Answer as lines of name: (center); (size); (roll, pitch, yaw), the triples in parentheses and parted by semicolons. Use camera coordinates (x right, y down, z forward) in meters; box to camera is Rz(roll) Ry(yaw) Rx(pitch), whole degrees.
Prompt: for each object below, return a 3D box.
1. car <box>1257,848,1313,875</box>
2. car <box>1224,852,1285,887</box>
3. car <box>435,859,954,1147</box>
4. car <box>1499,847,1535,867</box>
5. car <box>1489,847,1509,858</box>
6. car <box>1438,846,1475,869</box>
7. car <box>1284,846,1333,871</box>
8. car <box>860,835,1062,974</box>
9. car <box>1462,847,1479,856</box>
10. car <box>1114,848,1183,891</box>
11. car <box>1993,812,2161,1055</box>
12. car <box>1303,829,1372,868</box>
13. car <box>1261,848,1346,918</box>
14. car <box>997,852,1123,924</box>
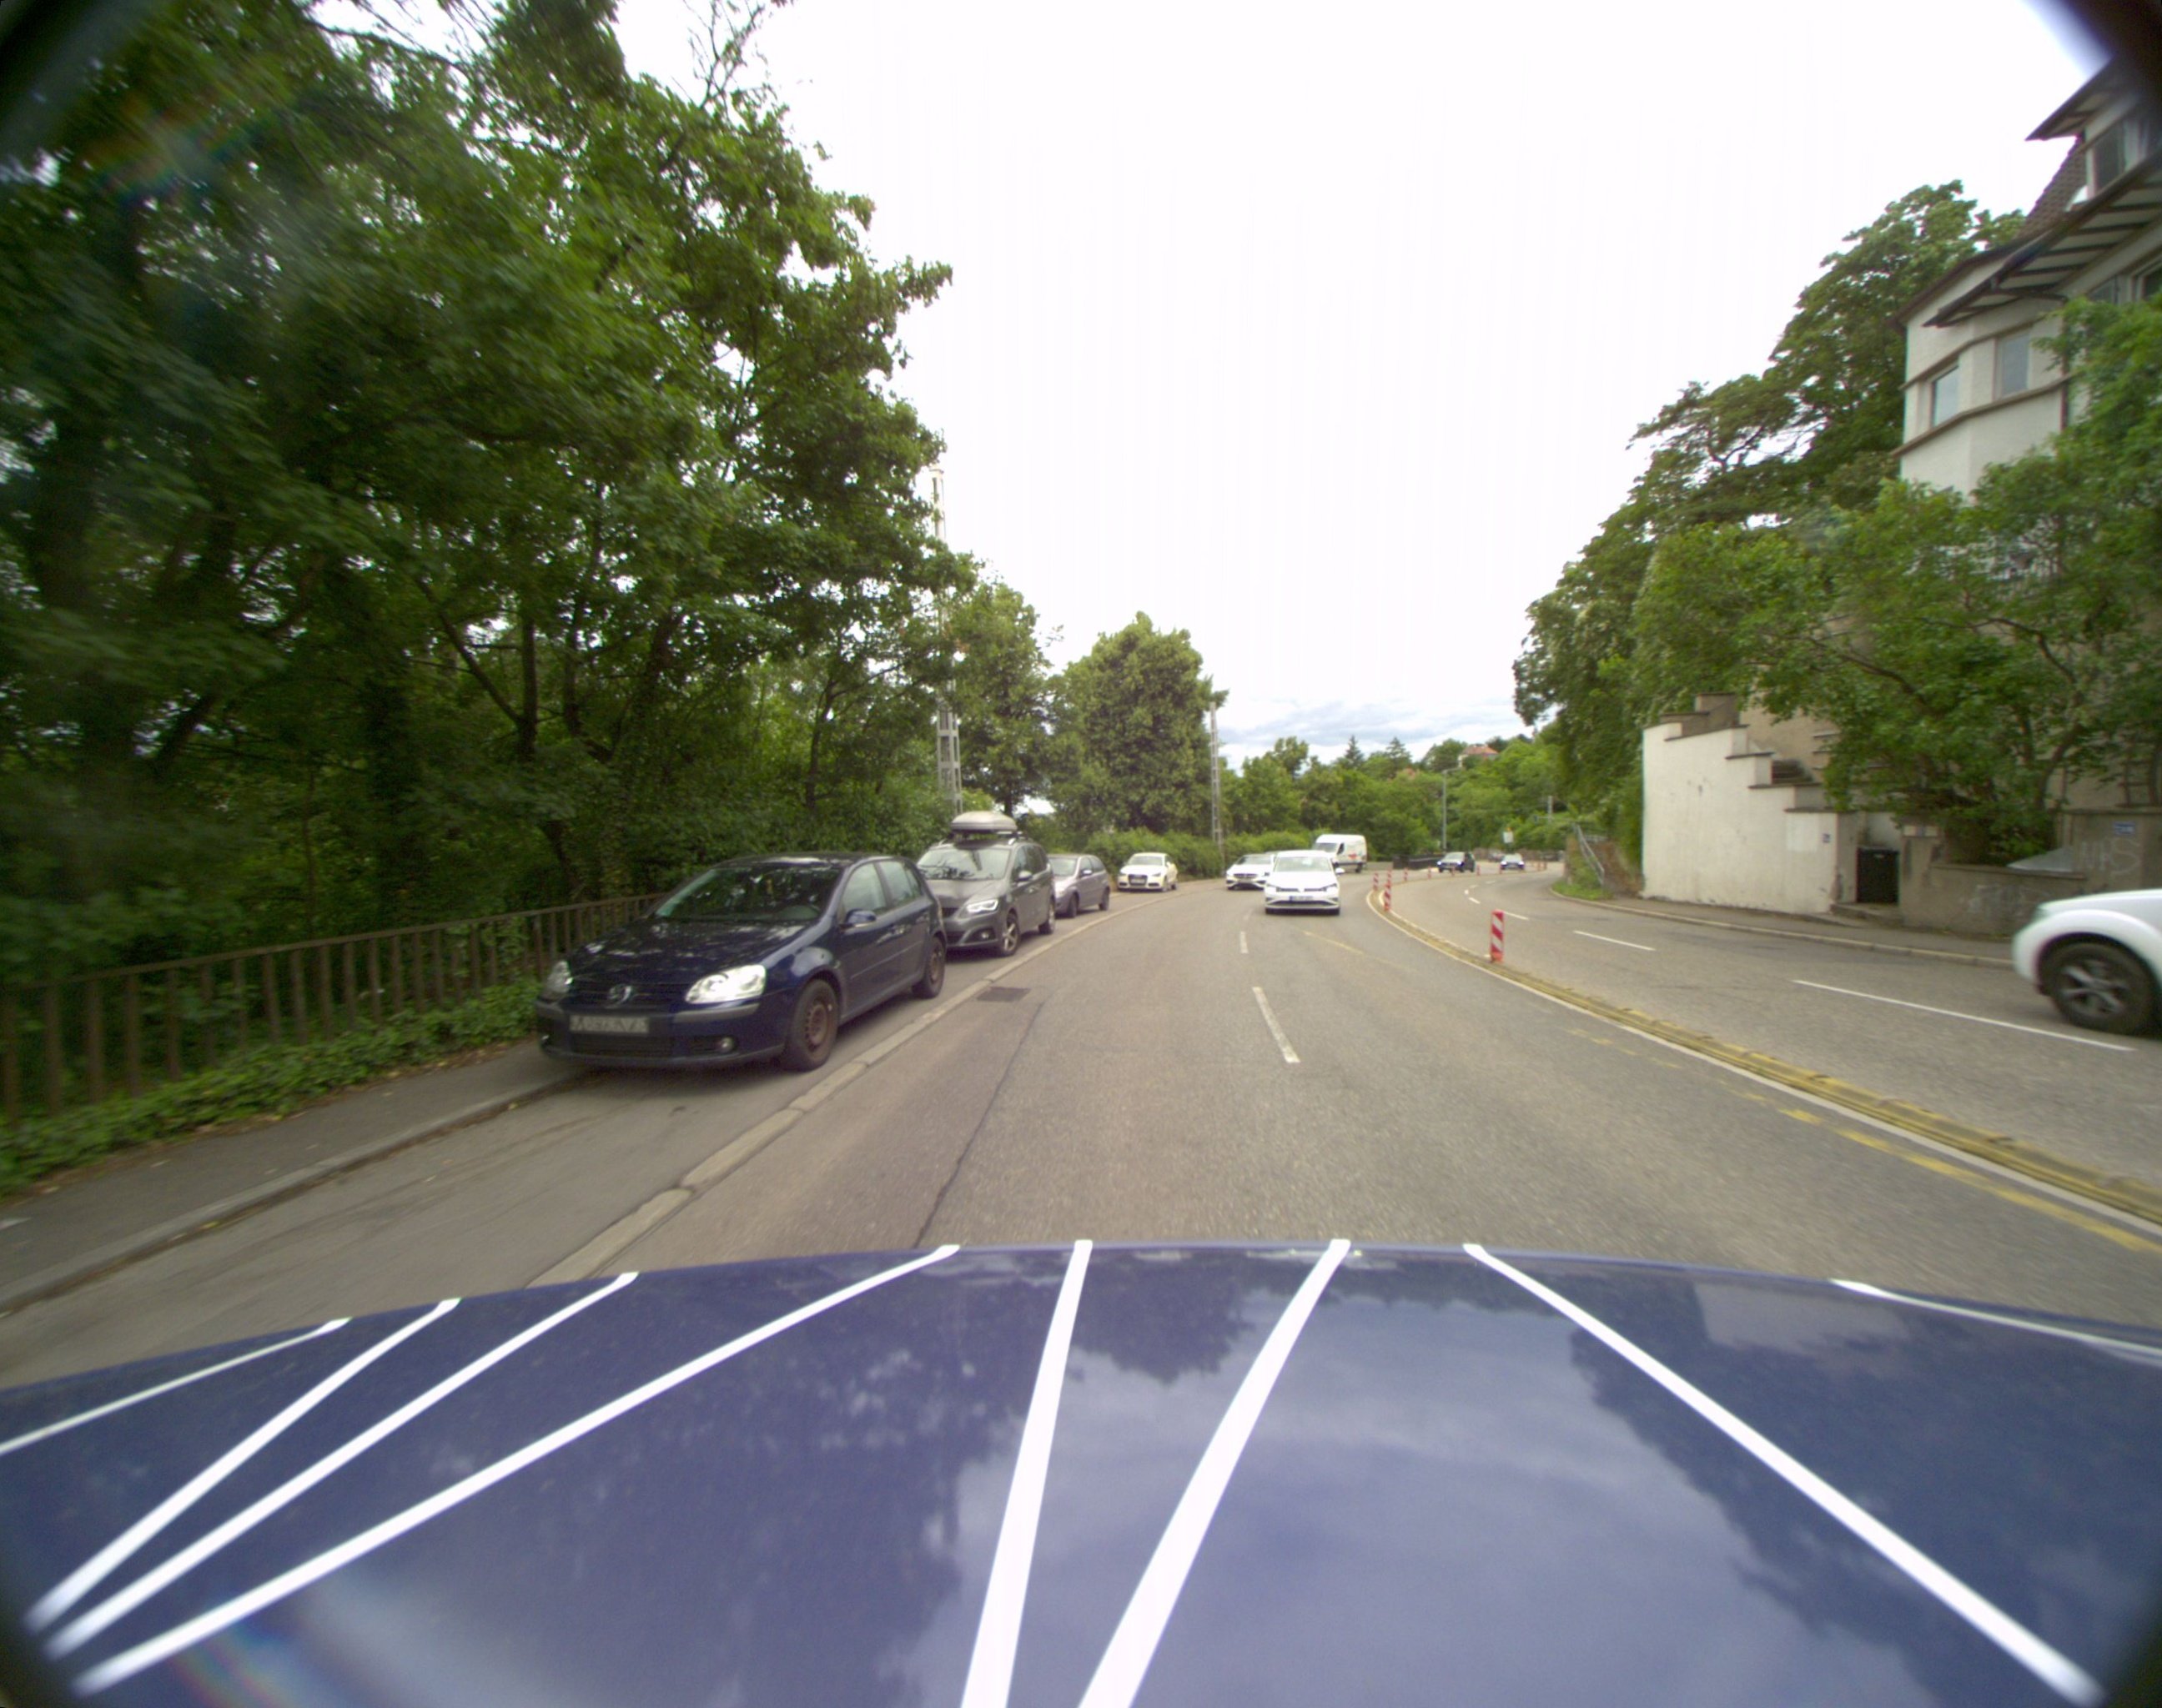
car: (11.724, 0.389, 43.498); (1.701, 1.455, 4.673); (1, 1, 33)
car: (7.187, 0.600, 31.157); (1.795, 1.299, 4.107); (-1, 0, 22)
car: (-2.485, 0.828, 6.153); (1.663, 1.478, 4.037); (-2, 0, 8)
car: (40.666, 0.246, 70.845); (1.995, 1.696, 4.008); (-3, 0, 43)
car: (61.548, -0.184, 111.963); (1.713, 1.458, 3.665); (-2, 0, 15)
car: (30.163, 0.263, 60.976); (1.995, 1.696, 4.007); (-3, 0, 36)
car: (14.297, 0.268, 47.607); (1.701, 1.456, 3.843); (2, 2, 37)
car: (-1.625, 0.640, 12.063); (1.802, 1.761, 4.610); (-2, 0, 9)
car: (65.691, -0.383, 128.154); (1.713, 1.458, 3.665); (-2, 0, 15)
car: (2.617, 0.523, 28.586); (1.779, 1.410, 4.004); (1, 1, 17)
car: (8.906, 0.586, 4.100); (1.914, 1.818, 5.309); (-1, 0, 5)
car: (17.637, -0.406, 52.119); (2.084, 2.509, 5.857); (3, 3, 44)
car: (5.794, 0.644, 19.639); (1.883, 1.569, 4.005); (1, 1, 18)
car: (-0.375, 0.726, 18.129); (1.643, 1.455, 4.005); (-1, 1, 19)
